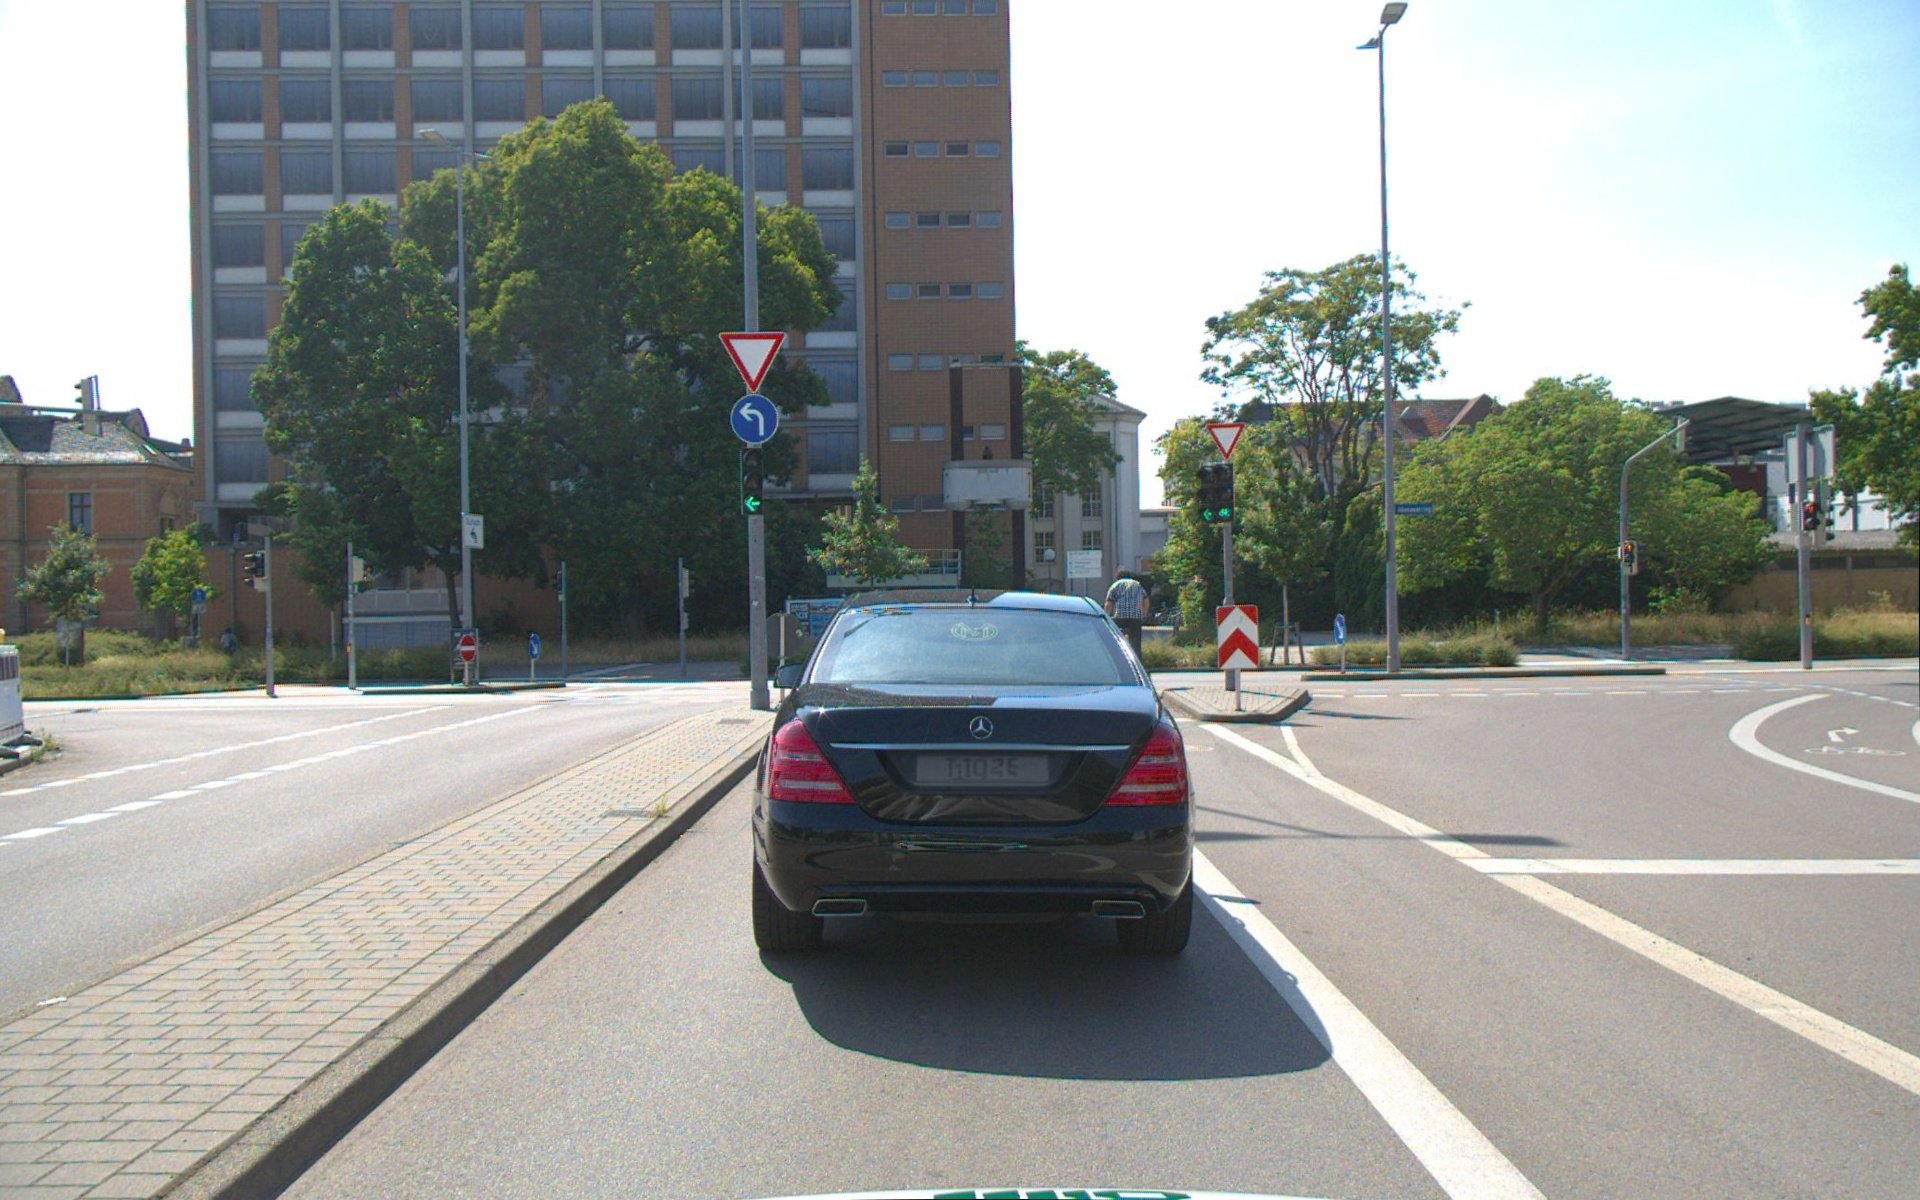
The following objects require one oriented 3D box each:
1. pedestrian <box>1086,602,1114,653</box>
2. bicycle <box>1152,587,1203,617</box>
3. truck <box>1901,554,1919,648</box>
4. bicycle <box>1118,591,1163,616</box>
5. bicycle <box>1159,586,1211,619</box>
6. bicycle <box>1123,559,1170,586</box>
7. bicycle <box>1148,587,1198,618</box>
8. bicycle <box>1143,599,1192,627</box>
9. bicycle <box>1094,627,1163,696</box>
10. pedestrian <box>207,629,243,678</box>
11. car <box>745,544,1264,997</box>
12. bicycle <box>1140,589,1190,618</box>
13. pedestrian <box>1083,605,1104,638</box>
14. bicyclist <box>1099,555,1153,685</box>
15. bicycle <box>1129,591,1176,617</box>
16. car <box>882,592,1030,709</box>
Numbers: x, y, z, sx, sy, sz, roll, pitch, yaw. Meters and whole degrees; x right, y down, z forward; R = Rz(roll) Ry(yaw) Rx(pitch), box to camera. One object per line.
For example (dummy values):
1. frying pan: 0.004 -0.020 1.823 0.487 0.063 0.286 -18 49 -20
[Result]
1. pedestrian: 4.457 0.878 52.773 0.794 1.607 0.692 -1 -1 1
2. bicycle: 12.459 0.116 94.933 2.766 1.678 0.841 -2 0 -2
3. truck: 27.799 -0.090 41.562 6.881 2.397 2.413 -2 -2 0
4. bicycle: 11.624 0.244 106.445 2.765 1.506 0.841 -2 0 0
5. bicycle: 12.702 0.125 93.500 2.766 1.775 0.841 -2 0 -2
6. bicycle: 11.549 -1.678 102.407 2.766 1.586 0.841 -2 0 -2
7. bicycle: 12.348 0.140 96.017 2.766 1.688 0.841 -2 1 -2
8. bicycle: 12.252 0.765 97.842 2.766 1.564 0.841 -2 0 -2
9. bicycle: 2.501 0.903 24.729 0.679 0.963 1.956 1 0 -4
10. pedestrian: -26.474 1.919 59.552 0.781 1.756 0.873 -2 -1 22
11. car: -0.064 0.604 8.138 1.823 1.557 4.707 1 0 -6
12. bicycle: 12.054 0.178 97.157 2.766 1.615 0.841 -2 0 -2
13. pedestrian: 5.100 0.815 63.308 0.776 1.235 0.758 1 -1 6
14. bicyclist: 2.495 0.299 24.931 0.672 1.911 0.859 0 0 -5
15. bicycle: 12.132 0.243 104.254 2.766 1.526 0.841 -2 0 -2
16. car: -0.080 0.681 24.142 1.953 1.534 3.999 1 0 -1
